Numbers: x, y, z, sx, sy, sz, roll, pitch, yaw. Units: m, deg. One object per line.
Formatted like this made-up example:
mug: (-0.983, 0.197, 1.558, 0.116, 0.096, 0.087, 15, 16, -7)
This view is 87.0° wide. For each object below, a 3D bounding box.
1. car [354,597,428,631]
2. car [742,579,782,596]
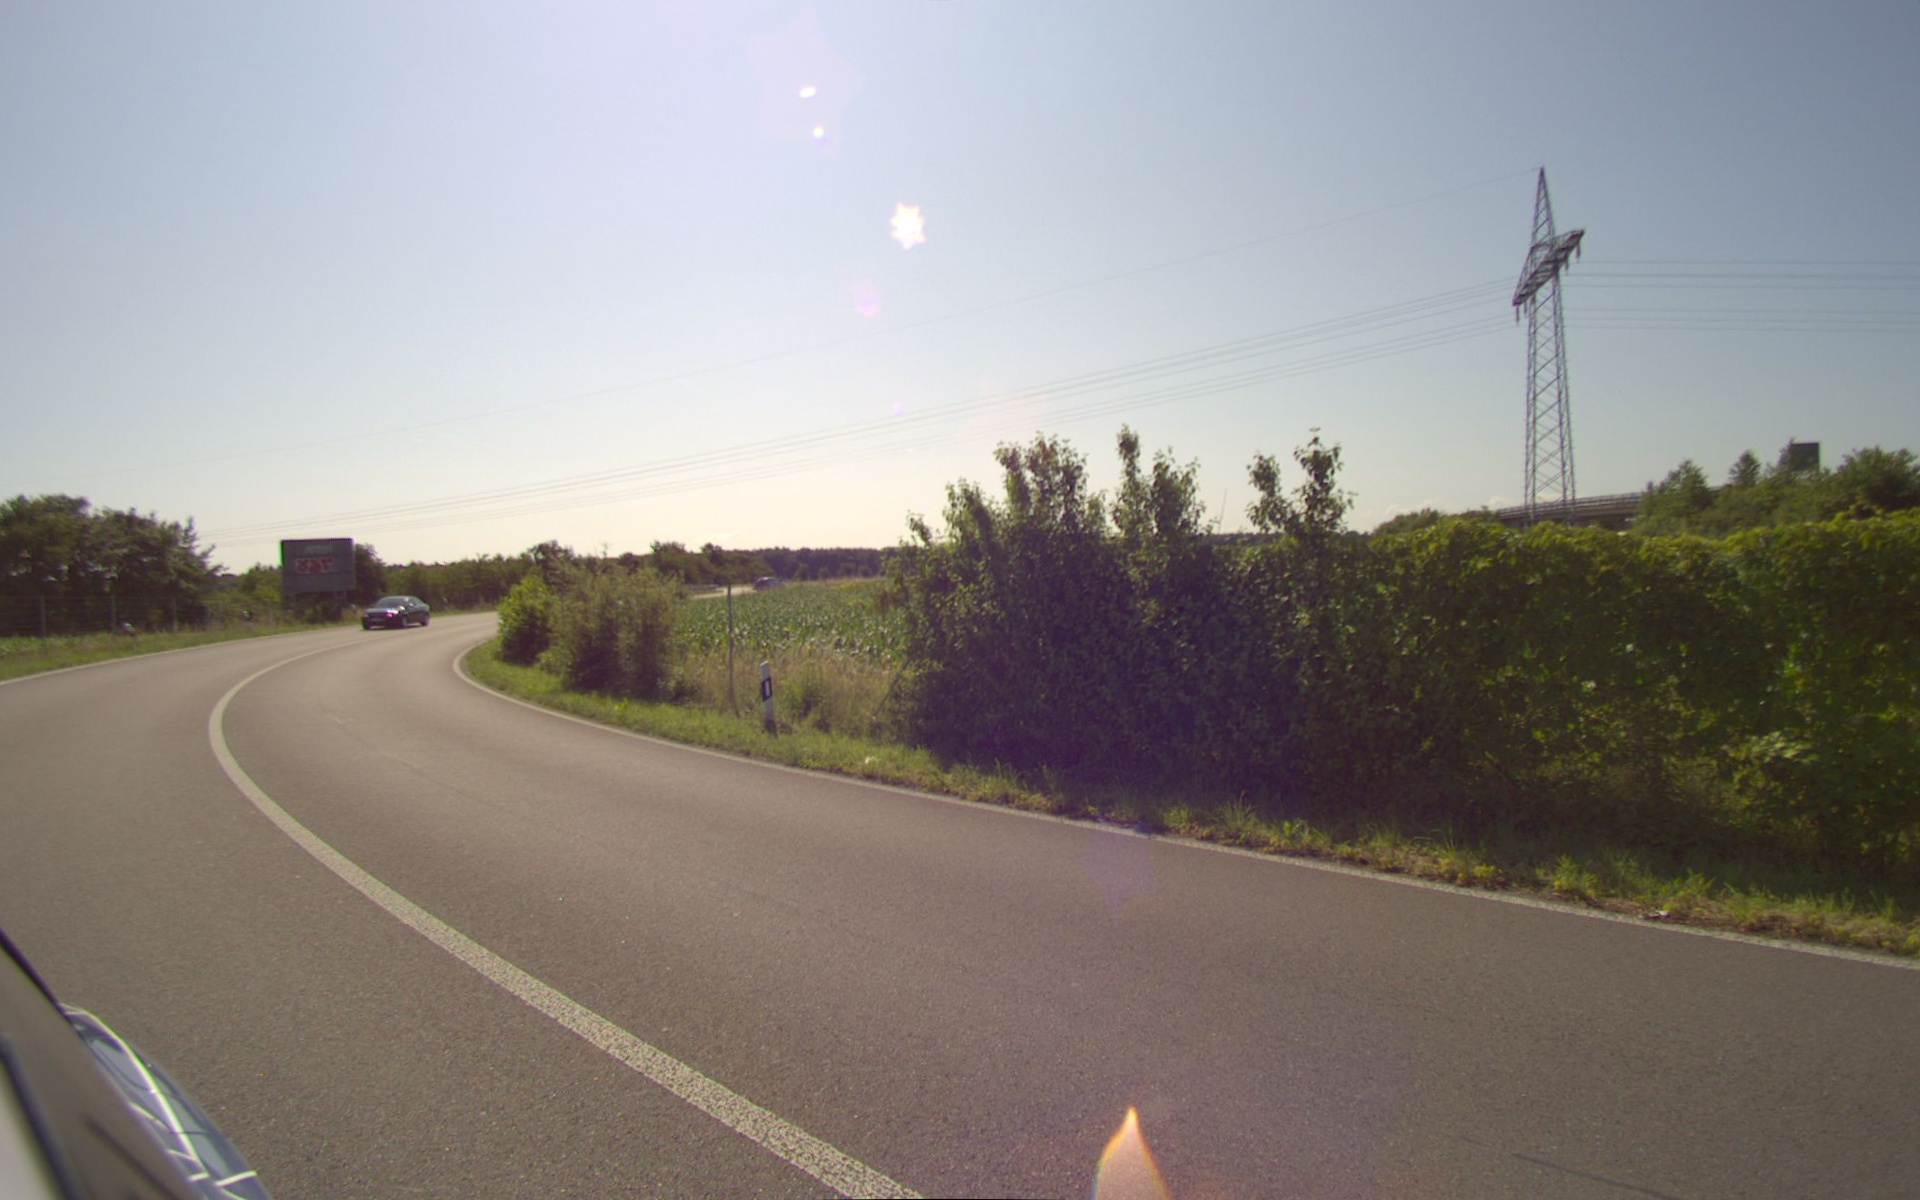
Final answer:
car: (-26.209, 0.615, 46.757, 1.857, 1.467, 4.085, 0, 0, -12)
car: (-19.841, -1.293, 101.677, 1.855, 1.491, 5.110, 0, 3, 16)
